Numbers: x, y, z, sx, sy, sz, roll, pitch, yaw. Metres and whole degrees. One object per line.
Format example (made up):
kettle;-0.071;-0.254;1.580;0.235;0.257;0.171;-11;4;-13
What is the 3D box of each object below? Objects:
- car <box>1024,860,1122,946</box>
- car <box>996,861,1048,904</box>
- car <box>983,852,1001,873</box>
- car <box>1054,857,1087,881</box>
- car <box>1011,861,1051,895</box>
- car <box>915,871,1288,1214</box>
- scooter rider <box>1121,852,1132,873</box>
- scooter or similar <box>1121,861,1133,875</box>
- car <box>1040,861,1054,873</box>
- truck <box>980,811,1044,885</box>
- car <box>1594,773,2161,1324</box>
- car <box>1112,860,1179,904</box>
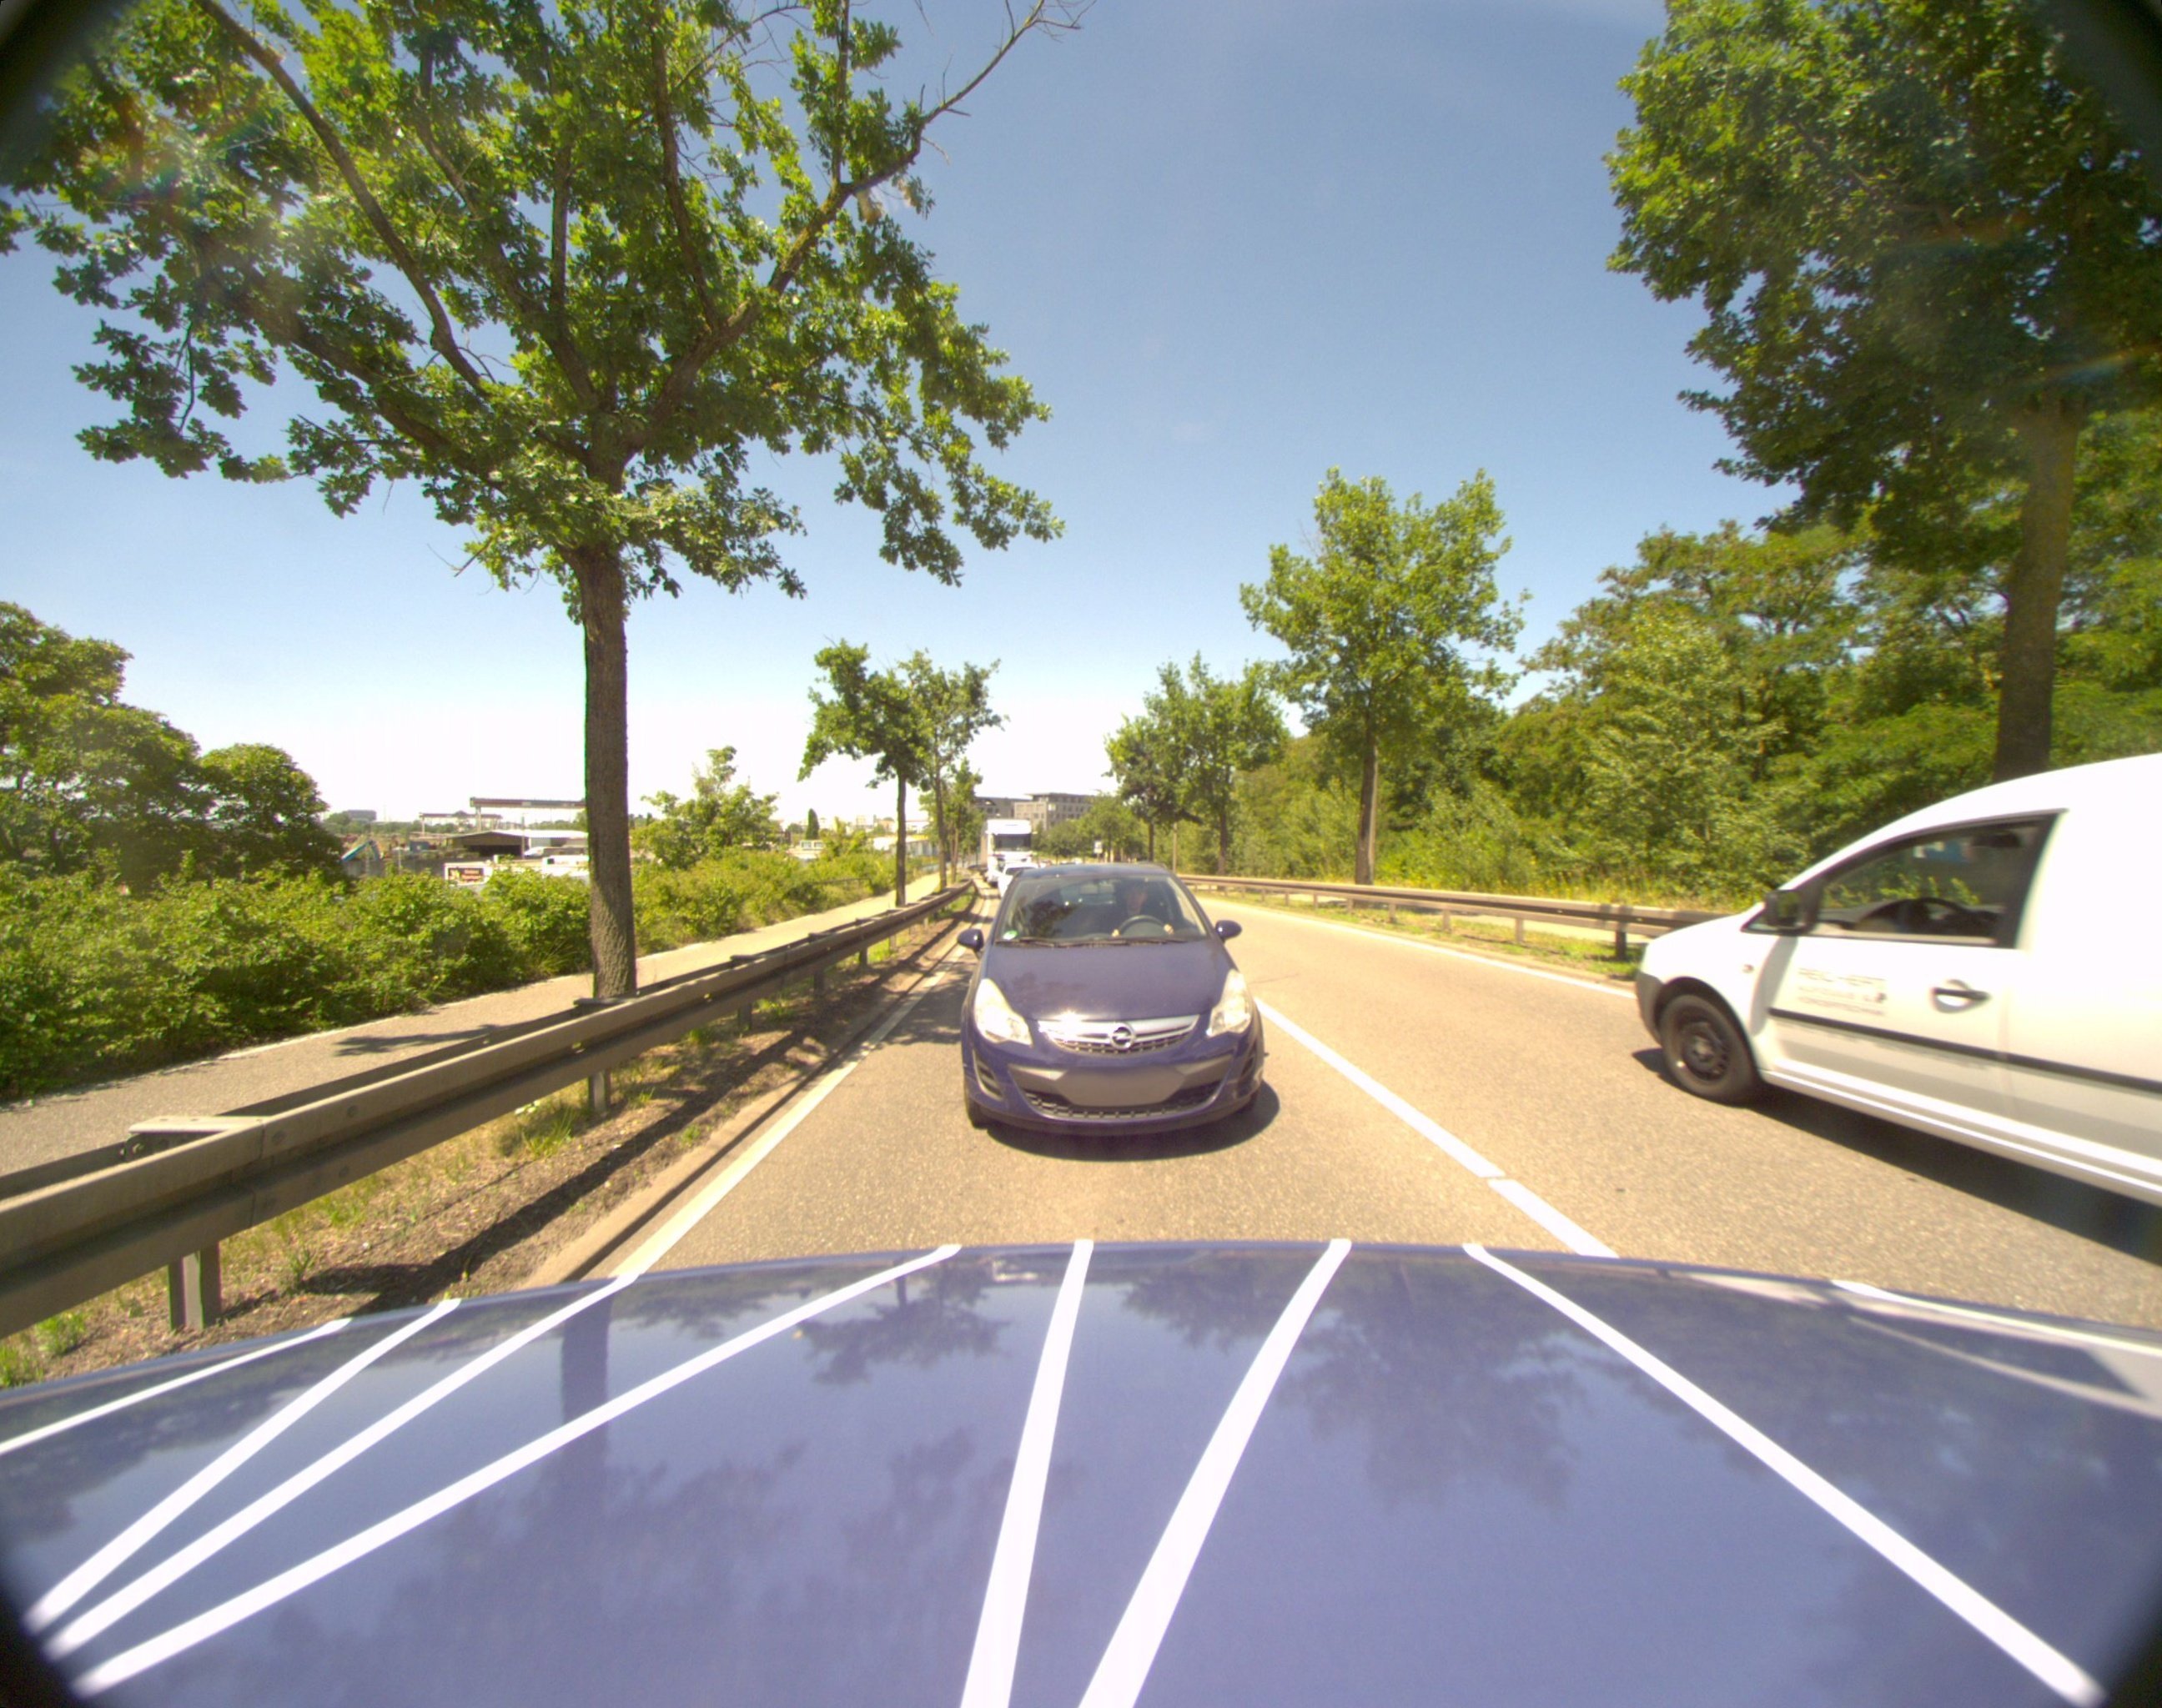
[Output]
car;-0.196;0.935;16.144;1.780;1.498;3.895;-2;0;-2
car;-2.172;1.019;28.889;1.780;1.398;3.999;-2;0;-3
car;-9.246;0.877;78.820;1.781;2.002;3.997;-2;0;-8
car;-0.793;1.062;54.014;1.755;1.546;4.123;-2;0;-8
car;-2.630;1.188;39.339;1.781;1.569;3.997;-2;0;-7
car;0.055;0.932;5.517;1.720;1.455;3.837;-2;0;-2
scooter rider;3.679;0.717;61.248;0.779;1.648;1.120;-2;1;-1
scooter or similar;3.707;1.129;61.258;0.779;1.085;1.094;-2;1;-3
car;-6.551;2.482;147.020;1.779;2.002;4.002;-2;0;9
truck;-5.075;-0.357;52.039;3.073;4.146;16.897;-2;0;-9
car;4.293;0.589;2.857;1.750;1.753;4.388;-2;0;0
car;2.238;0.937;27.168;1.561;1.364;3.886;-2;0;-7
